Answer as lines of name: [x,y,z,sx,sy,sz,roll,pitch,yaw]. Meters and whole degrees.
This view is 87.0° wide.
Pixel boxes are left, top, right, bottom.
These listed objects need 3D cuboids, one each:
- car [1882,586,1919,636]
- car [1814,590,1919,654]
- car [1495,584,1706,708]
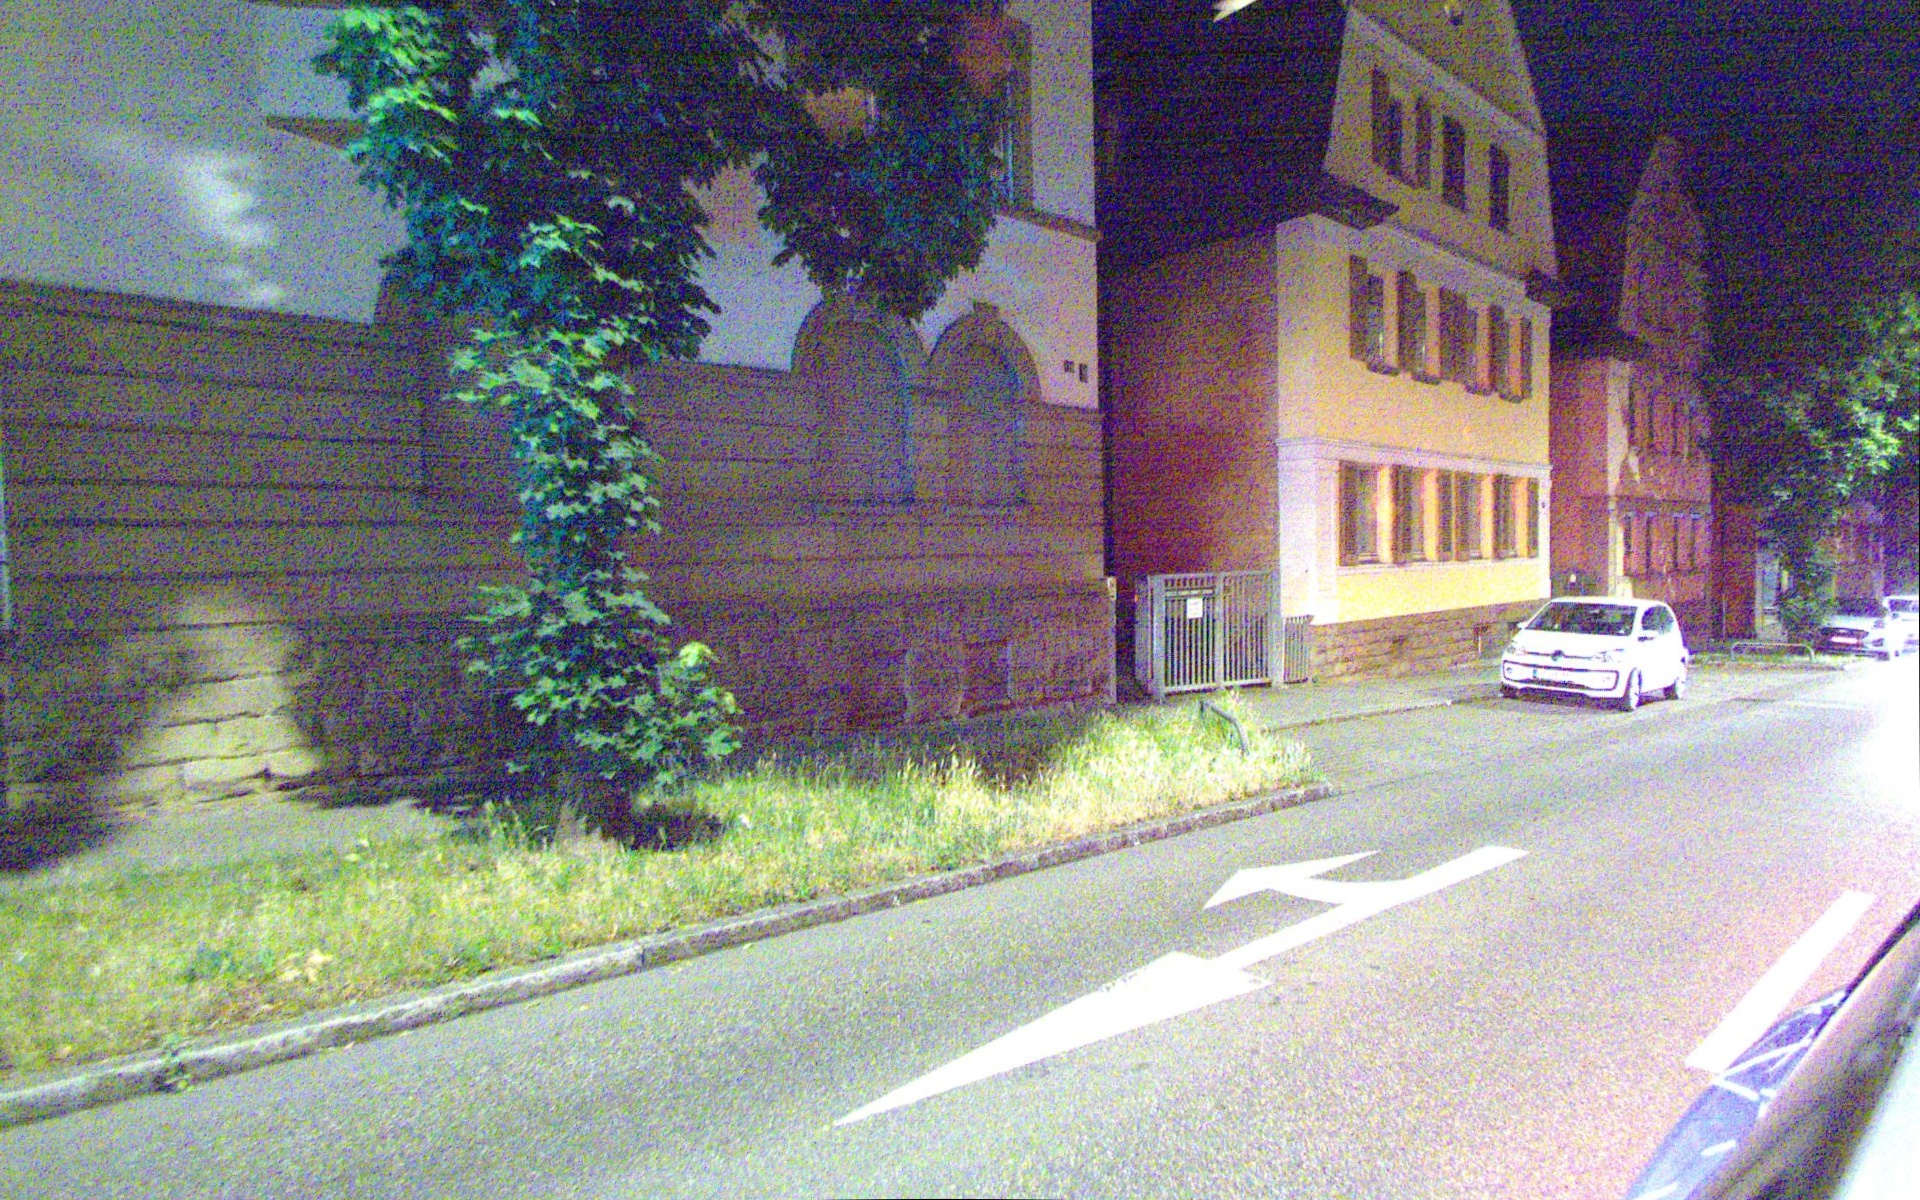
car: [33.543,0.368,35.136,4.107,1.673,1.850,0,0,-42]
car: [23.619,0.509,26.279,3.824,1.516,1.740,0,2,-43]
car: [9.251,0.574,14.534,3.425,1.527,1.610,0,2,-41]
